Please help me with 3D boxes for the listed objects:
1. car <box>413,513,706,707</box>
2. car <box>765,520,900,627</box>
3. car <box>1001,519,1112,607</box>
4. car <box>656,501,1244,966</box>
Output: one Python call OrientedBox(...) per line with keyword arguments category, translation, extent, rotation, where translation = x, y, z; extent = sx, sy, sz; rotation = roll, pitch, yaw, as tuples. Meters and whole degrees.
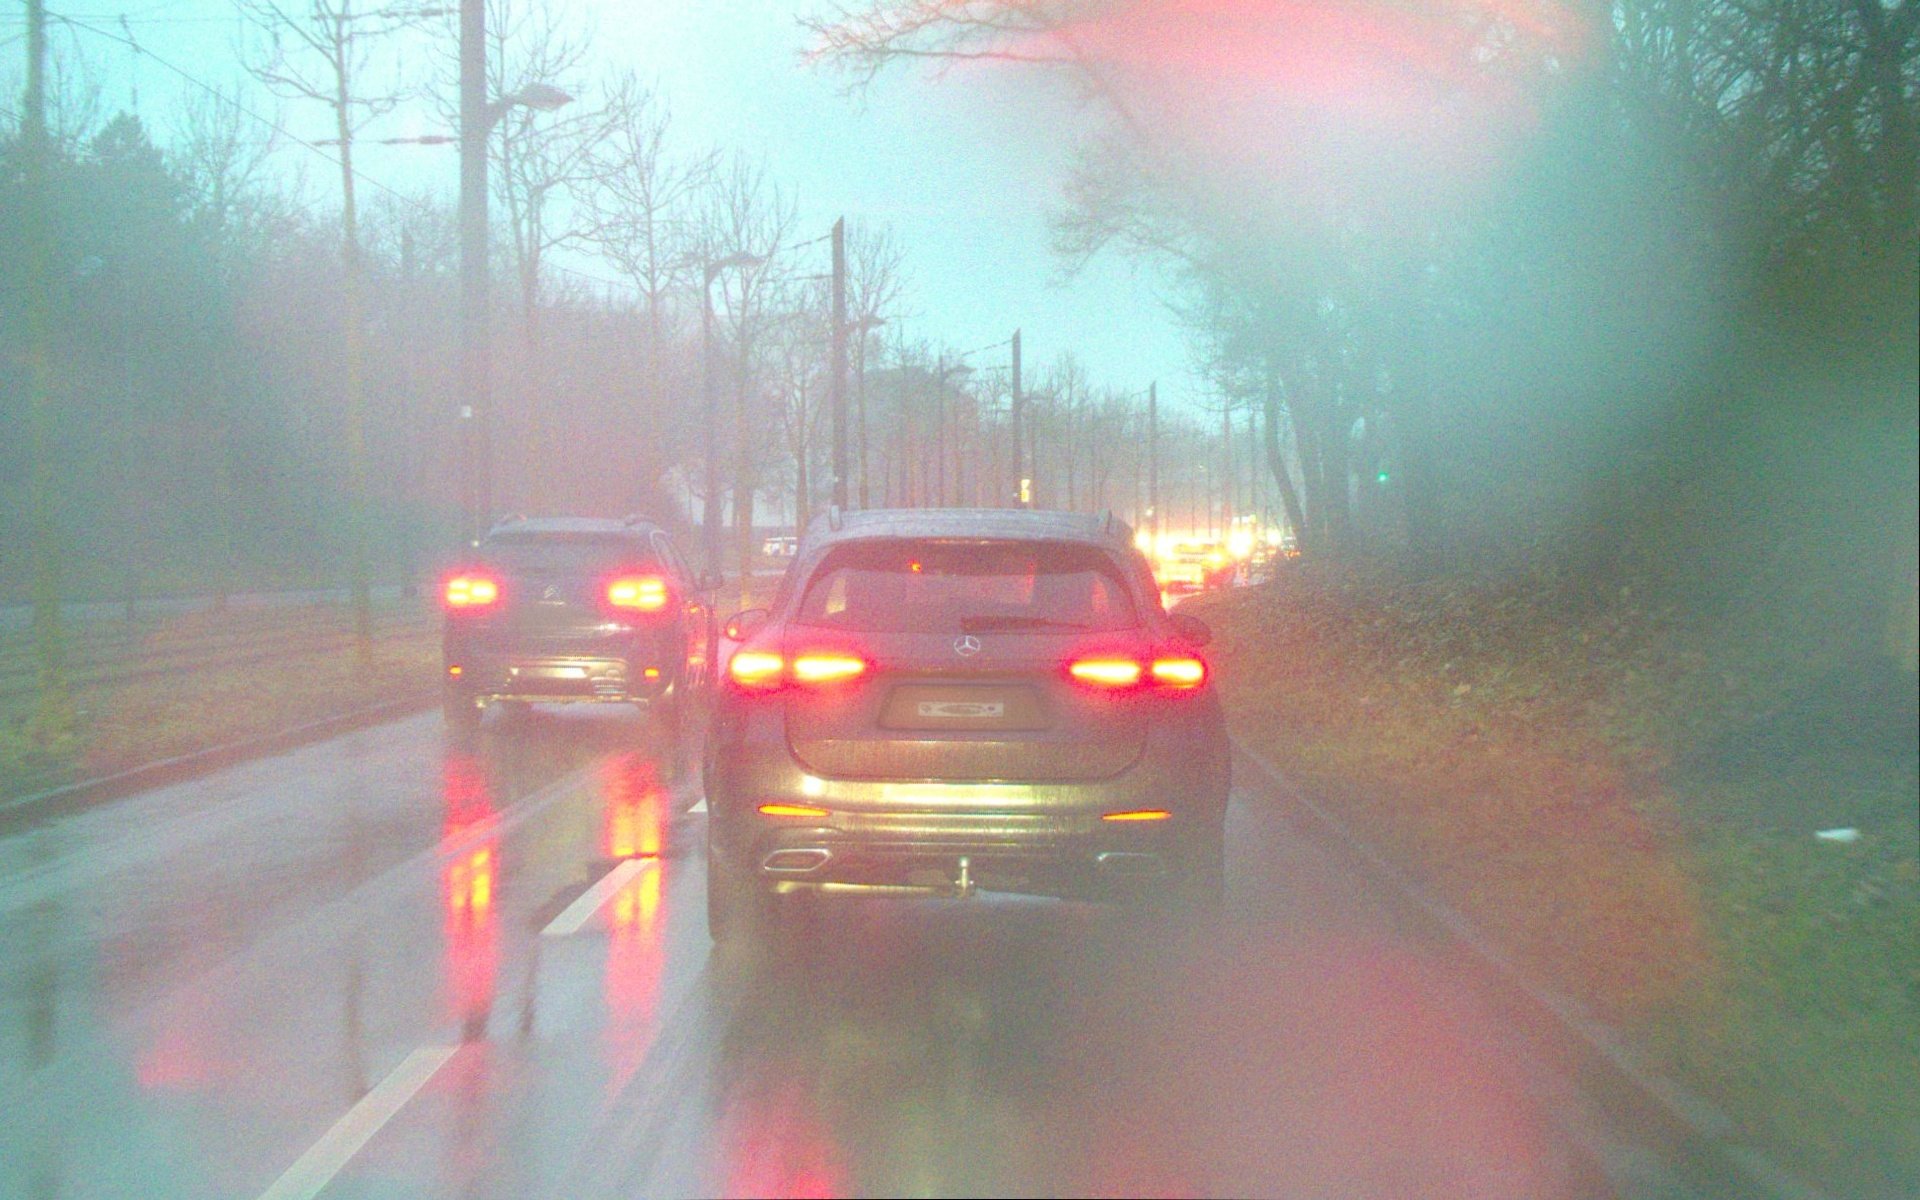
OrientedBox(category="car", translation=(-3.190, 0.023, 28.117), extent=(1.880, 1.454, 4.000), rotation=(0, 2, 1))
OrientedBox(category="car", translation=(-1.948, -0.442, 53.693), extent=(1.880, 1.588, 4.000), rotation=(0, 2, 1))
OrientedBox(category="car", translation=(1.792, -0.690, 62.614), extent=(1.709, 1.552, 3.995), rotation=(0, 1, 6))
OrientedBox(category="car", translation=(-0.069, 0.406, 13.784), extent=(1.998, 1.578, 4.000), rotation=(1, 1, -1))
